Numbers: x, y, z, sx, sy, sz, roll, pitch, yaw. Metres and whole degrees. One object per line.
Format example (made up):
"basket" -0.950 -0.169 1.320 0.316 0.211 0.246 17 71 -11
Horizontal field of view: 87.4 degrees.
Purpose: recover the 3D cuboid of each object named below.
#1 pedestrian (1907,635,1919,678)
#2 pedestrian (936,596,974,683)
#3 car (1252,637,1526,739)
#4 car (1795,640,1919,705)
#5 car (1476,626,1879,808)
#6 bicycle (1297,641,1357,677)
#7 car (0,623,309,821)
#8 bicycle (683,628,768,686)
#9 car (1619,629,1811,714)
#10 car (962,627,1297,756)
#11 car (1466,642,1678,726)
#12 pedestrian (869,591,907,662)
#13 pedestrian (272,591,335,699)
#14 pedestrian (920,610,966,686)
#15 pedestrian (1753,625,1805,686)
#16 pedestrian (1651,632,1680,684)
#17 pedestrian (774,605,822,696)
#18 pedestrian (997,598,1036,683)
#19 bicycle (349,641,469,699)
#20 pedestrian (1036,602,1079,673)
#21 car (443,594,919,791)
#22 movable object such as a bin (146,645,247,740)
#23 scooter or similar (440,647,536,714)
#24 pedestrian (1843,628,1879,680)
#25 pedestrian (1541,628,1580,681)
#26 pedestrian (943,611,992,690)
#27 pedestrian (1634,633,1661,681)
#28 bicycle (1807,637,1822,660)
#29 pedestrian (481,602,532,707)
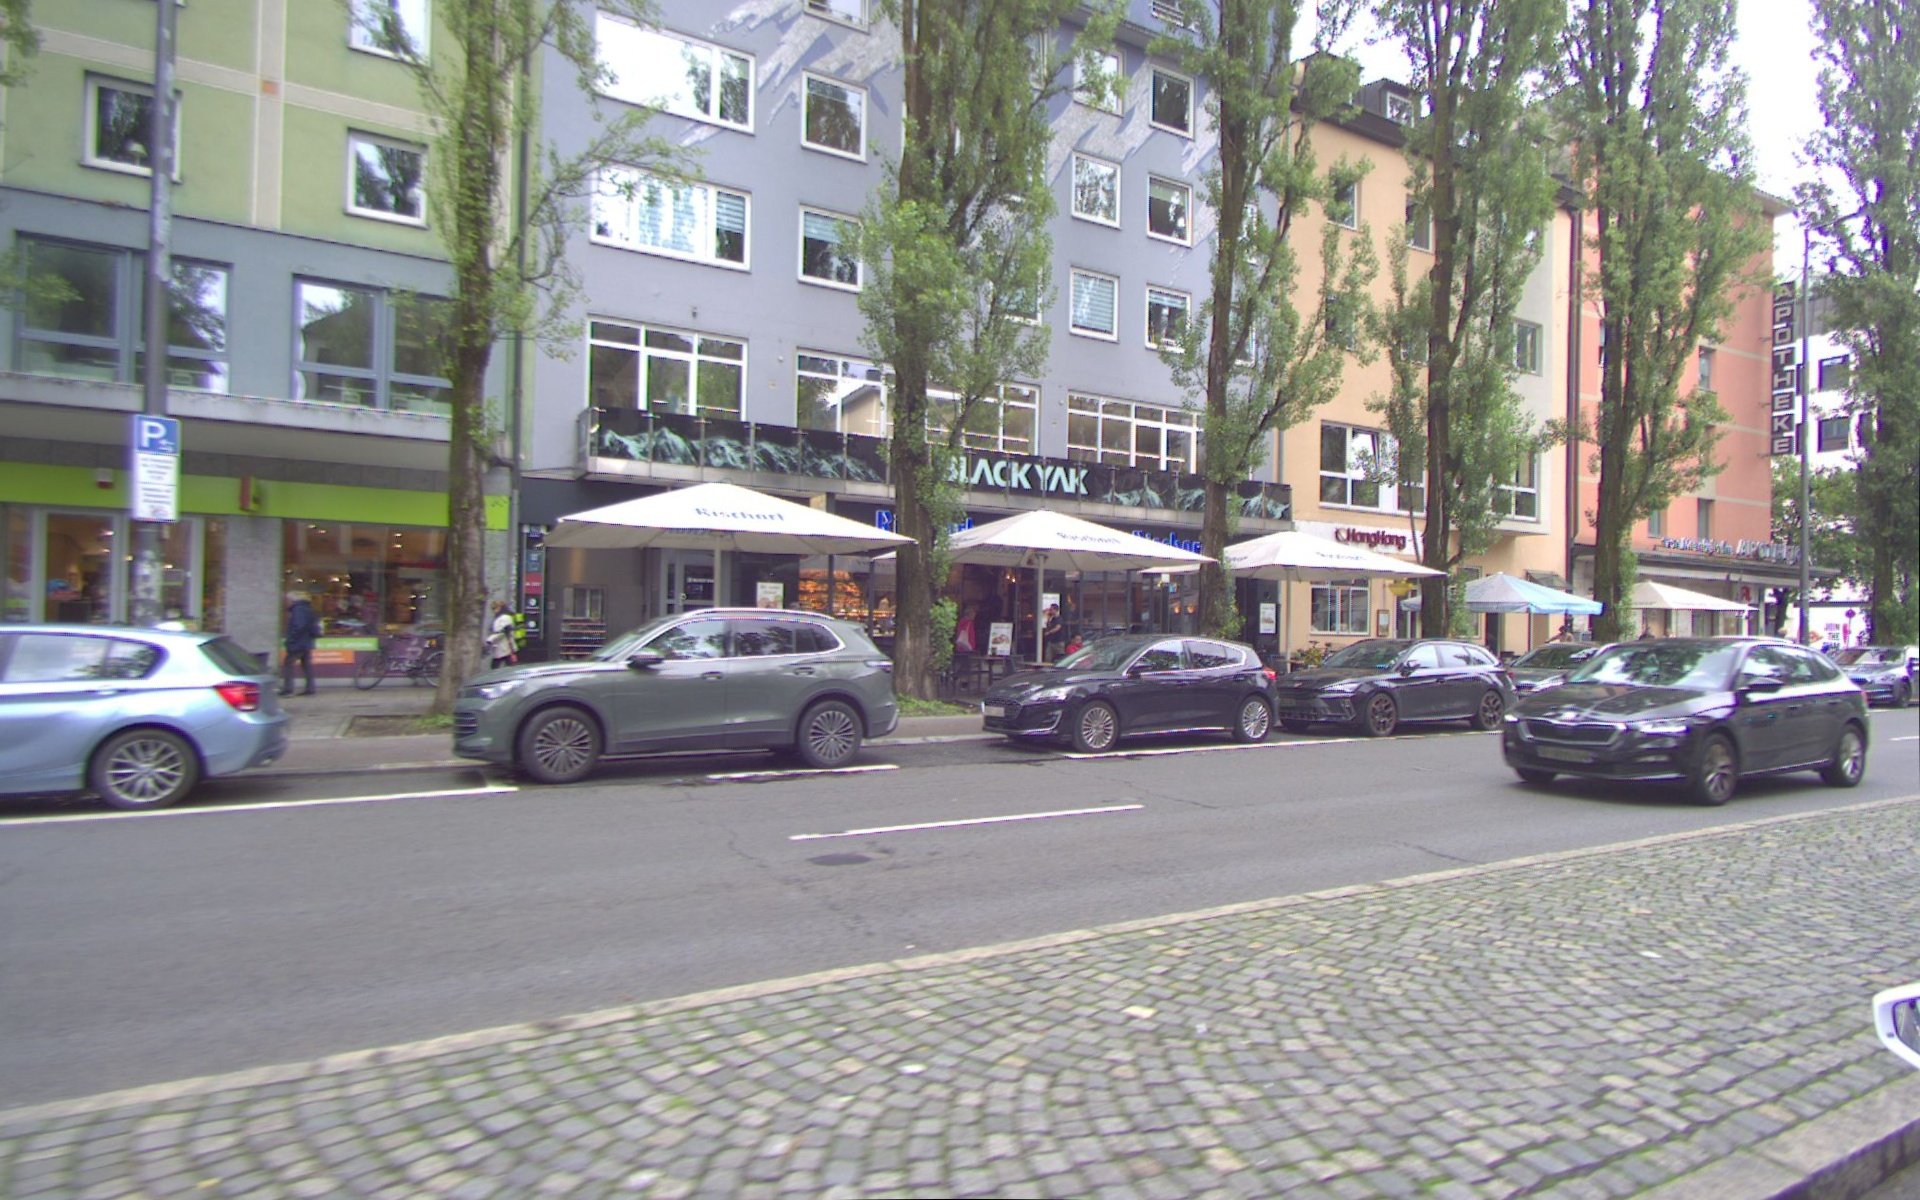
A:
"pedestrian" 39.572 2.334 41.395 0.512 1.711 0.627 2 0 -27
"pedestrian" -0.140 1.042 26.513 0.684 2.241 0.777 1 -1 -29
"car" 6.849 1.342 15.935 4.380 1.431 1.696 2 -3 -29
"car" 22.455 1.747 24.501 4.534 1.457 1.696 2 -3 -29
"car" 7.181 1.061 9.999 4.002 1.484 1.749 2 -3 -30
"bicycle" 10.675 1.719 29.213 1.932 1.015 0.441 2 -1 -27
"car" -7.748 0.898 7.816 4.349 1.436 1.650 2 -3 -30
"bicycle" -4.747 1.141 20.389 1.568 1.111 0.611 2 -1 -40
"car" 15.701 1.462 20.856 4.046 1.604 1.696 2 -3 -29
"car" 2.313 1.157 13.389 4.317 1.485 1.670 2 -3 -29
"car" 11.238 1.494 18.388 4.136 1.399 1.487 2 -3 -29
"pedestrian" -1.887 0.686 26.332 0.733 1.828 0.778 1 -1 -26
"pedestrian" -10.603 0.720 16.244 0.746 1.695 0.706 1 -1 -28
"pedestrian" -0.376 1.044 21.935 0.734 1.623 0.750 1 -1 -30
"pedestrian" 25.428 1.723 31.189 0.975 1.819 0.736 2 0 -10
"pedestrian" 24.251 1.986 34.532 0.684 1.740 0.552 1 -1 -29
"pedestrian" -3.243 0.994 20.094 0.746 1.778 0.738 1 -1 -28
"pedestrian" 1.523 1.075 26.992 0.722 2.241 0.777 1 -1 -29
"bicycle" -9.726 1.222 17.781 1.827 0.984 0.477 2 -1 -29
"pedestrian" 2.326 0.901 24.028 0.746 1.662 0.738 1 -1 -26
"car" -2.860 0.907 10.574 4.528 1.702 1.773 2 -3 -28
"movable object such as a bin" -9.041 1.076 11.904 0.716 1.061 0.663 1 -1 22
"scooter or similar" -7.193 1.216 15.340 1.220 0.953 0.441 2 -1 -3
"pedestrian" 31.883 1.905 35.555 0.768 1.794 0.721 1 -1 -27
"pedestrian" 19.494 1.752 32.613 0.792 1.690 0.777 1 -1 -29
"pedestrian" 0.153 1.042 20.931 0.746 1.623 0.738 1 -1 -26
"pedestrian" 24.123 1.996 35.244 0.684 1.660 0.552 1 -1 -29
"bicycle" 45.781 2.594 53.783 2.050 1.199 0.445 2 -2 -45
"pedestrian" -7.935 0.940 17.566 0.746 1.778 0.815 1 -1 -28
